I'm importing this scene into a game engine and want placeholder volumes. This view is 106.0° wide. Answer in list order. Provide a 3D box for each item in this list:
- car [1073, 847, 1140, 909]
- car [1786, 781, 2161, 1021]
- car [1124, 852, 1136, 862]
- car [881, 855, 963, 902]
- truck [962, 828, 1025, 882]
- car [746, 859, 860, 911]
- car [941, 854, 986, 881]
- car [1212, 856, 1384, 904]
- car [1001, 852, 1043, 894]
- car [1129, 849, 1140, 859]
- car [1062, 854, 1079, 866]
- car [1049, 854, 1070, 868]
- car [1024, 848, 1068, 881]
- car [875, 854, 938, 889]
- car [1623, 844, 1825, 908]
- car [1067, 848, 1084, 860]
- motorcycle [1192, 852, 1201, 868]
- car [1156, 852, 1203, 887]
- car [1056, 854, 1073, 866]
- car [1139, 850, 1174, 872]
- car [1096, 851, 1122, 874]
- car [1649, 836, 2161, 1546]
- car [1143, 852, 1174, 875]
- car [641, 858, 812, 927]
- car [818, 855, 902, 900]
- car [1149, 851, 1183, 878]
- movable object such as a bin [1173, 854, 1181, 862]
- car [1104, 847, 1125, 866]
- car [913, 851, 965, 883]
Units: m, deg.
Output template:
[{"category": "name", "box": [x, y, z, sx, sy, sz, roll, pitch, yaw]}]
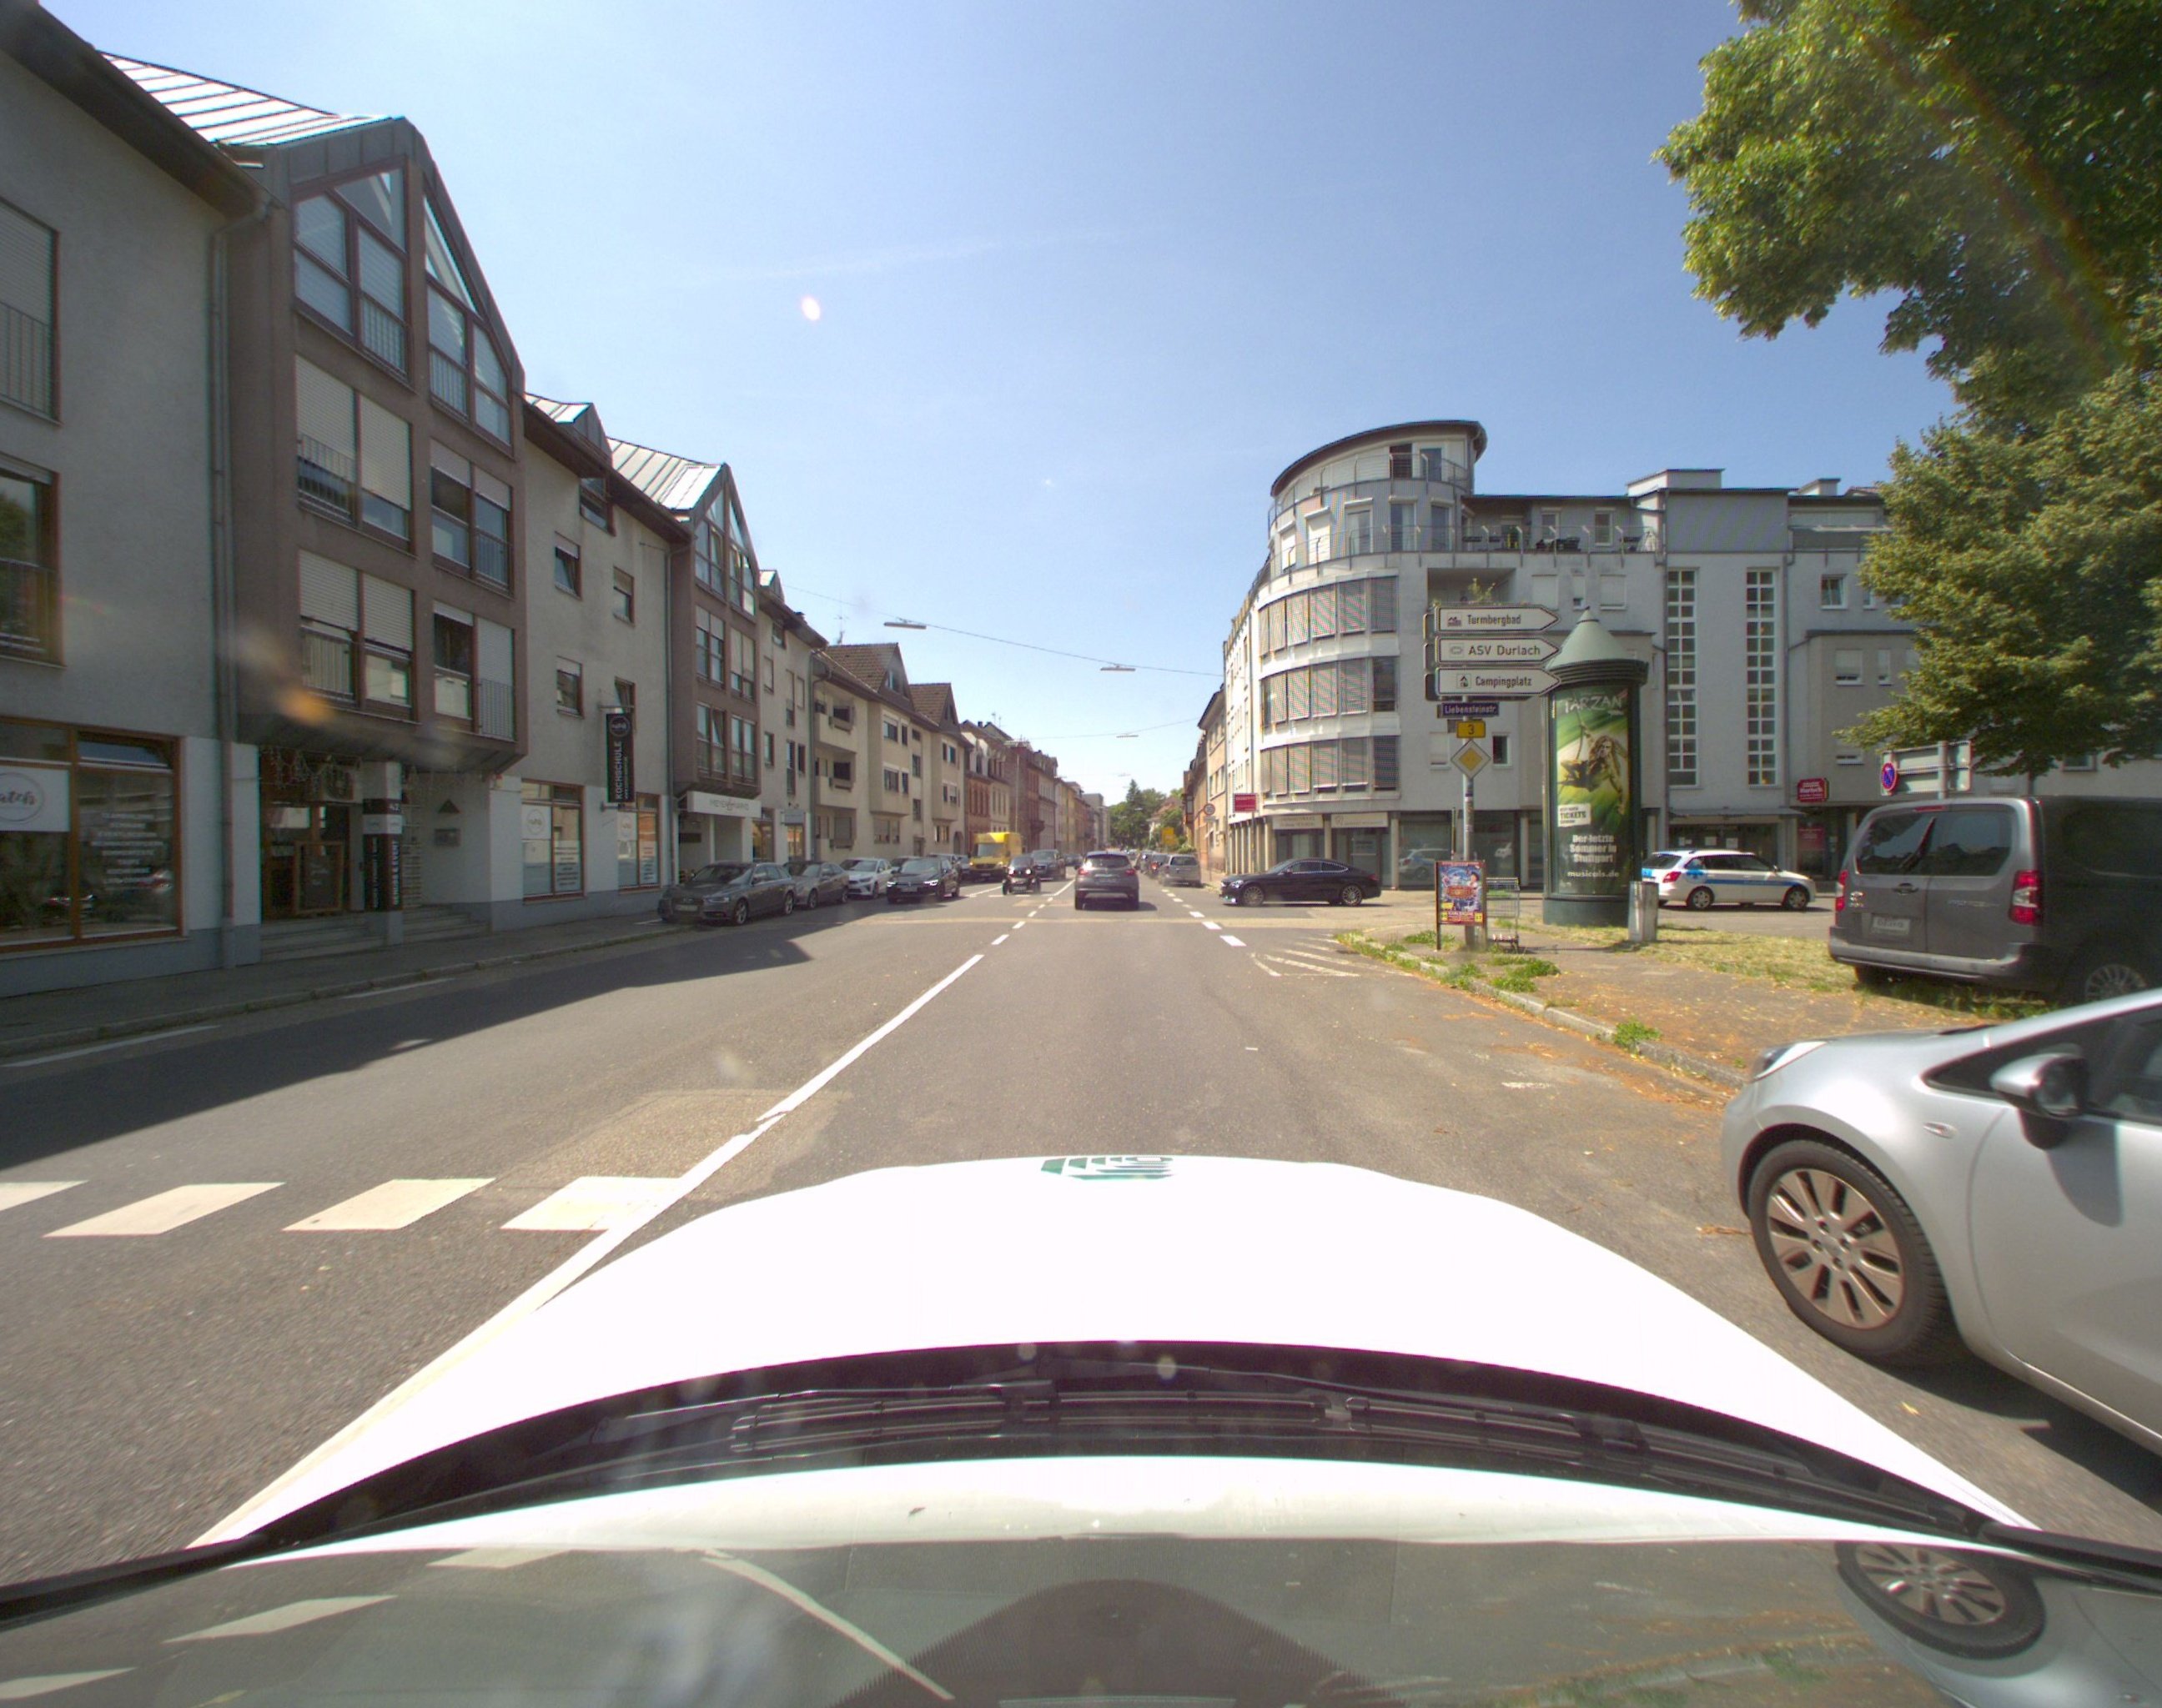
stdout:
[{"category": "car", "box": [0.655, 0.621, 23.350, 1.739, 1.616, 3.998, 0, 0, -1]}, {"category": "car", "box": [8.896, 0.324, 6.978, 3.973, 1.750, 2.017, -1, 0, 1]}, {"category": "car", "box": [8.029, 0.506, 132.909, 1.754, 1.560, 3.949, -1, 0, 6]}, {"category": "car", "box": [-5.209, 0.765, 27.261, 1.736, 1.419, 4.225, -1, 0, 2]}, {"category": "truck", "box": [-4.856, 0.037, 46.556, 2.216, 2.771, 7.571, -2, 0, 4]}, {"category": "car", "box": [-8.488, 0.894, 25.308, 1.832, 1.384, 4.329, 2, 0, 2]}, {"category": "car", "box": [-7.117, 0.780, 49.561, 1.832, 1.488, 4.390, 2, 0, 3]}, {"category": "car", "box": [6.284, 0.735, 24.015, 4.566, 1.365, 2.000, 0, 0, -1]}, {"category": "car", "box": [-2.166, 0.669, 30.358, 1.493, 1.459, 2.720, -1, 0, -3]}, {"category": "car", "box": [9.275, 0.017, 140.871, 1.754, 1.560, 3.949, -1, 0, 6]}, {"category": "car", "box": [-1.338, 0.762, 107.509, 1.832, 1.422, 4.649, -3, -1, 3]}, {"category": "car", "box": [-2.529, 0.825, 96.359, 1.830, 1.422, 4.509, -4, -1, 6]}, {"category": "car", "box": [-1.803, 0.541, 43.010, 1.804, 1.620, 4.445, -2, 0, 3]}, {"category": "car", "box": [-8.120, 0.805, 38.295, 1.833, 1.489, 4.388, 2, 0, 2]}, {"category": "car", "box": [16.368, 0.545, 20.854, 3.974, 1.555, 1.570, 0, 0, 0]}, {"category": "car", "box": [-0.696, 0.010, 113.716, 1.830, 1.422, 4.565, -3, -1, 6]}, {"category": "motorcycle", "box": [9.037, 0.464, 64.016, 0.593, 1.225, 1.363, 0, 0, 4]}, {"category": "car", "box": [4.442, 0.668, 37.346, 1.672, 1.454, 4.143, 1, 0, 0]}, {"category": "car", "box": [-2.020, 0.733, 101.601, 1.832, 1.422, 4.505, -3, -1, 3]}, {"category": "car", "box": [5.269, 0.496, 57.478, 1.849, 1.463, 4.545, 0, 0, -3]}, {"category": "car", "box": [2.159, 0.643, 61.950, 1.804, 1.620, 4.445, -2, 0, 3]}, {"category": "car", "box": [3.133, 0.707, 1.370, 1.760, 1.485, 3.893, 0, 0, 2]}, {"category": "car", "box": [4.926, 0.587, 52.146, 1.646, 1.420, 4.048, 0, 0, 0]}, {"category": "car", "box": [-8.640, 0.857, 20.436, 1.832, 1.447, 4.973, 2, 0, 3]}, {"category": "car", "box": [-8.194, 0.833, 30.599, 1.833, 1.489, 4.387, 2, 0, 1]}, {"category": "car", "box": [4.805, 0.575, 46.300, 1.704, 1.473, 4.442, -1, 0, 3]}, {"category": "movable object such as a bin", "box": [10.751, 0.435, 91.017, 0.785, 0.907, 0.539, -1, 0, 2]}, {"category": "car", "box": [3.605, 0.245, 87.105, 1.984, 2.013, 4.473, -1, 0, 5]}, {"category": "car", "box": [-7.550, 0.663, 43.788, 1.833, 1.595, 4.388, 2, 0, 2]}]
